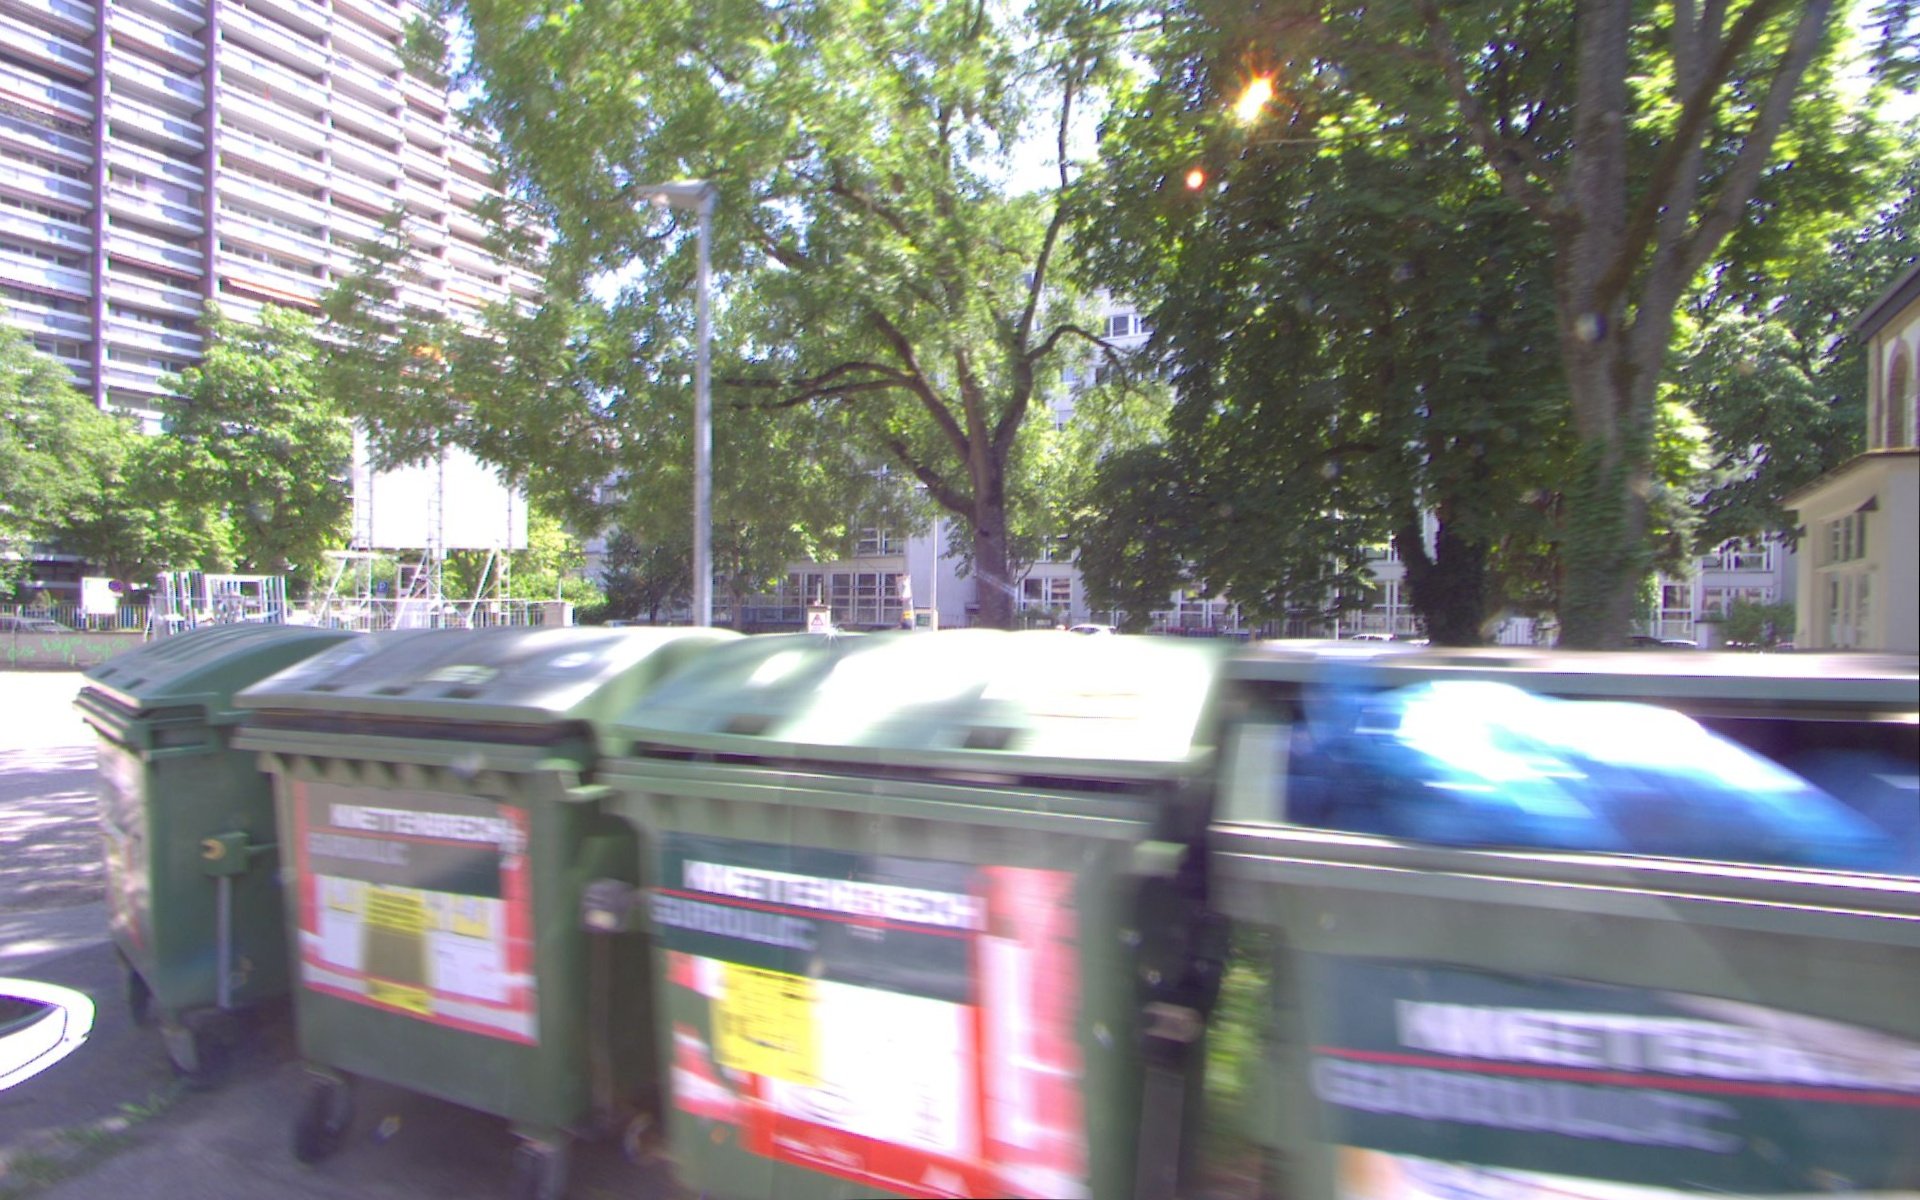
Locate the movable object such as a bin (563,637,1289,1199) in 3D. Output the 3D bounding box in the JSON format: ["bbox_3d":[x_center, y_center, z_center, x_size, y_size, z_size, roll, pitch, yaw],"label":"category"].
[{"bbox_3d":[0.006,0.835,2.335,1.291,1.488,1.179,0,-1,27],"label":"movable object such as a bin"}]

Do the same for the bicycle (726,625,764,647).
[{"bbox_3d":[-12.075,2.026,56.329,0.770,1.172,2.377,0,-1,26],"label":"bicycle"}]

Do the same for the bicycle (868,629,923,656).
[{"bbox_3d":[-2.854,1.885,44.256,2.392,1.167,0.786,1,0,-2],"label":"bicycle"}]

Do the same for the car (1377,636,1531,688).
[{"bbox_3d":[15.155,1.882,30.861,3.860,1.483,1.706,1,-1,3],"label":"car"}]

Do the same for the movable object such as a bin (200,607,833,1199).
[{"bbox_3d":[-1.247,0.785,3.006,1.290,1.488,1.179,0,-1,25],"label":"movable object such as a bin"}]

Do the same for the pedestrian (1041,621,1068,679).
[{"bbox_3d":[2.640,1.408,28.140,0.718,1.609,0.741,1,-3,3],"label":"pedestrian"}]

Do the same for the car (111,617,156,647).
[{"bbox_3d":[-40.042,1.513,48.551,1.620,1.405,3.648,1,-1,-39],"label":"car"}]

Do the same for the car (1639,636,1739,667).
[{"bbox_3d":[32.470,2.268,44.673,1.478,1.307,3.319,1,-1,-34],"label":"car"}]

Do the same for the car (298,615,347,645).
[{"bbox_3d":[-30.972,1.443,48.643,1.620,1.405,3.648,1,-1,-39],"label":"car"}]

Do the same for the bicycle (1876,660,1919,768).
[{"bbox_3d":[11.230,1.274,10.881,1.818,1.157,0.586,0,-1,37],"label":"bicycle"}]

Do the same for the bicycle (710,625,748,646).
[{"bbox_3d":[-13.076,2.022,56.827,0.770,1.172,2.377,0,-1,26],"label":"bicycle"}]

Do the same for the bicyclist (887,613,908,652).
[{"bbox_3d":[-2.767,1.428,44.256,0.883,1.687,0.859,0,-1,-1],"label":"bicyclist"}]

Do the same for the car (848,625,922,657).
[{"bbox_3d":[-3.611,1.918,47.702,1.596,1.464,3.644,1,-1,-42],"label":"car"}]

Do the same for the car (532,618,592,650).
[{"bbox_3d":[-19.139,1.600,48.061,1.621,1.482,3.646,1,-1,-40],"label":"car"}]

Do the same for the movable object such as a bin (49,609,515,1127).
[{"bbox_3d":[-2.554,0.799,3.775,1.318,1.488,1.173,-1,-2,42],"label":"movable object such as a bin"}]

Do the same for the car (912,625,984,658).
[{"bbox_3d":[-0.613,1.960,47.764,1.594,1.455,3.574,1,-1,-39],"label":"car"}]

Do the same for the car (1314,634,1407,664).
[{"bbox_3d":[18.718,2.280,46.863,3.704,1.307,1.598,-1,-1,43],"label":"car"}]

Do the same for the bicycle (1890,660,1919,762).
[{"bbox_3d":[11.828,1.293,11.328,1.815,1.157,0.587,0,-1,32],"label":"bicycle"}]

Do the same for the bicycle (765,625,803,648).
[{"bbox_3d":[-9.663,1.990,55.078,0.770,1.203,2.424,0,-1,26],"label":"bicycle"}]

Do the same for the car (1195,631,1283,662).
[{"bbox_3d":[12.855,2.130,46.259,1.594,1.322,3.716,1,-1,-38],"label":"car"}]

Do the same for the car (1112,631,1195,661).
[{"bbox_3d":[9.038,2.150,46.989,1.594,1.297,3.715,1,-1,-39],"label":"car"}]

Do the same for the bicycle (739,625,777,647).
[{"bbox_3d":[-11.266,2.014,55.902,0.770,1.172,2.377,0,-1,26],"label":"bicycle"}]

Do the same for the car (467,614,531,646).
[{"bbox_3d":[-21.878,1.407,47.483,1.623,1.482,3.641,1,-1,-45],"label":"car"}]

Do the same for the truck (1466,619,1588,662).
[{"bbox_3d":[25.747,1.837,45.583,1.640,1.856,4.599,2,-2,-44],"label":"truck"}]

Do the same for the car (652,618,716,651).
[{"bbox_3d":[-13.289,1.633,48.147,1.621,1.482,3.646,1,-1,-40],"label":"car"}]

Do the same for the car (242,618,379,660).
[{"bbox_3d":[-24.426,1.441,37.758,4.063,1.483,1.766,1,-1,3],"label":"car"}]

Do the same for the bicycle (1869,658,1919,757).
[{"bbox_3d":[12.172,1.315,11.991,1.815,1.157,0.587,0,-1,32],"label":"bicycle"}]

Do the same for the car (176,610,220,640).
[{"bbox_3d":[-37.603,1.228,49.358,1.620,1.405,3.648,1,-1,-39],"label":"car"}]

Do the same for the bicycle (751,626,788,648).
[{"bbox_3d":[-10.533,2.025,55.497,0.770,1.172,2.377,0,-1,26],"label":"bicycle"}]

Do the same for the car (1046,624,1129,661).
[{"bbox_3d":[5.974,1.988,47.132,1.597,1.641,3.707,1,-1,-45],"label":"car"}]

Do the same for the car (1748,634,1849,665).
[{"bbox_3d":[38.020,2.201,45.464,1.480,1.307,3.315,1,-1,-38],"label":"car"}]

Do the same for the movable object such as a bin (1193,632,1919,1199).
[{"bbox_3d":[1.123,0.797,1.543,1.290,1.488,1.179,0,-1,25],"label":"movable object such as a bin"}]

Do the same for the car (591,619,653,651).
[{"bbox_3d":[-16.325,1.655,48.301,1.621,1.482,3.646,1,-1,-40],"label":"car"}]

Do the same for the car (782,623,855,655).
[{"bbox_3d":[-6.837,1.845,48.073,3.640,1.482,1.630,-1,-1,45],"label":"car"}]

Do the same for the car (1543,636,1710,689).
[{"bbox_3d":[20.166,1.885,30.419,3.860,1.483,1.706,1,-1,3],"label":"car"}]
